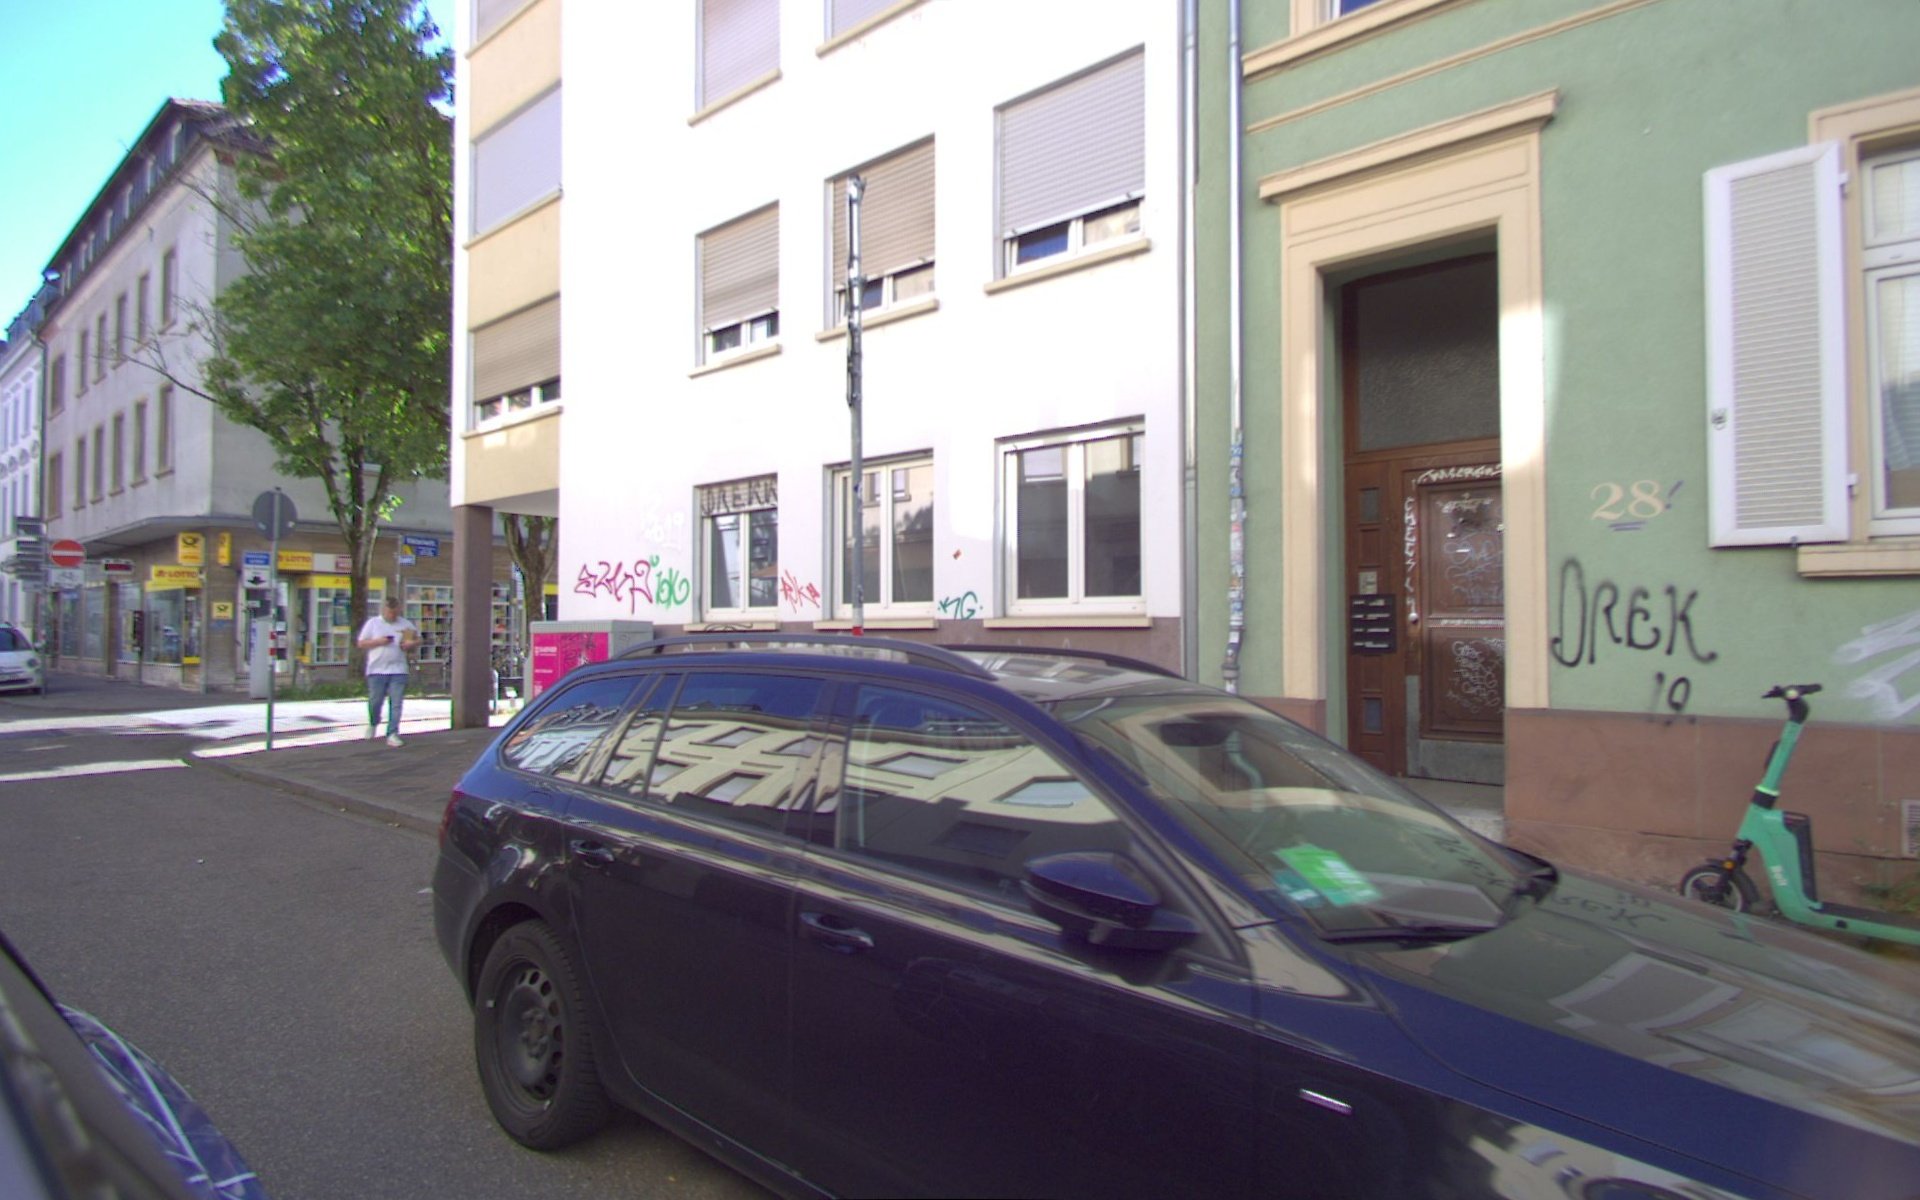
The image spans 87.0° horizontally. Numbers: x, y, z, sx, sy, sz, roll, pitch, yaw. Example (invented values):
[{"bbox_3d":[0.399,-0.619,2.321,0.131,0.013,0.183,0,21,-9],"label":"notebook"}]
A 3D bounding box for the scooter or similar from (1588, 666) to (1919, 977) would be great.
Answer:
[{"bbox_3d":[3.779,0.922,4.434,1.691,1.190,0.449,-1,-2,43],"label":"scooter or similar"}]

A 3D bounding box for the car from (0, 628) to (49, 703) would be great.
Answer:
[{"bbox_3d":[-21.622,1.411,22.403,3.719,1.572,1.650,-1,-3,40],"label":"car"}]

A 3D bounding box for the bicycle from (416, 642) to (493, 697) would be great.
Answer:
[{"bbox_3d":[-11.508,1.553,22.995,2.306,1.152,0.700,-1,-2,41],"label":"bicycle"}]

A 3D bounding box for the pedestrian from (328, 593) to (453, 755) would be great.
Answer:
[{"bbox_3d":[-6.898,0.855,12.252,1.244,1.846,0.901,-1,-2,39],"label":"pedestrian"}]

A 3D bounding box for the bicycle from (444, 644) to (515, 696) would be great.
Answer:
[{"bbox_3d":[-11.255,1.605,23.644,2.401,1.126,0.516,-1,-2,40],"label":"bicycle"}]

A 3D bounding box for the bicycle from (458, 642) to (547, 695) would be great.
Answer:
[{"bbox_3d":[-10.929,1.608,24.143,2.422,1.135,0.701,0,-2,32],"label":"bicycle"}]

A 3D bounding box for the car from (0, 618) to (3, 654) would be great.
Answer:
[{"bbox_3d":[-26.525,1.410,26.222,4.802,1.913,1.750,-2,-4,38],"label":"car"}]

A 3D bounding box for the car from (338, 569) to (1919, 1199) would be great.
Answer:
[{"bbox_3d":[0.246,0.802,2.734,4.846,1.500,1.697,-1,-5,39],"label":"car"}]
